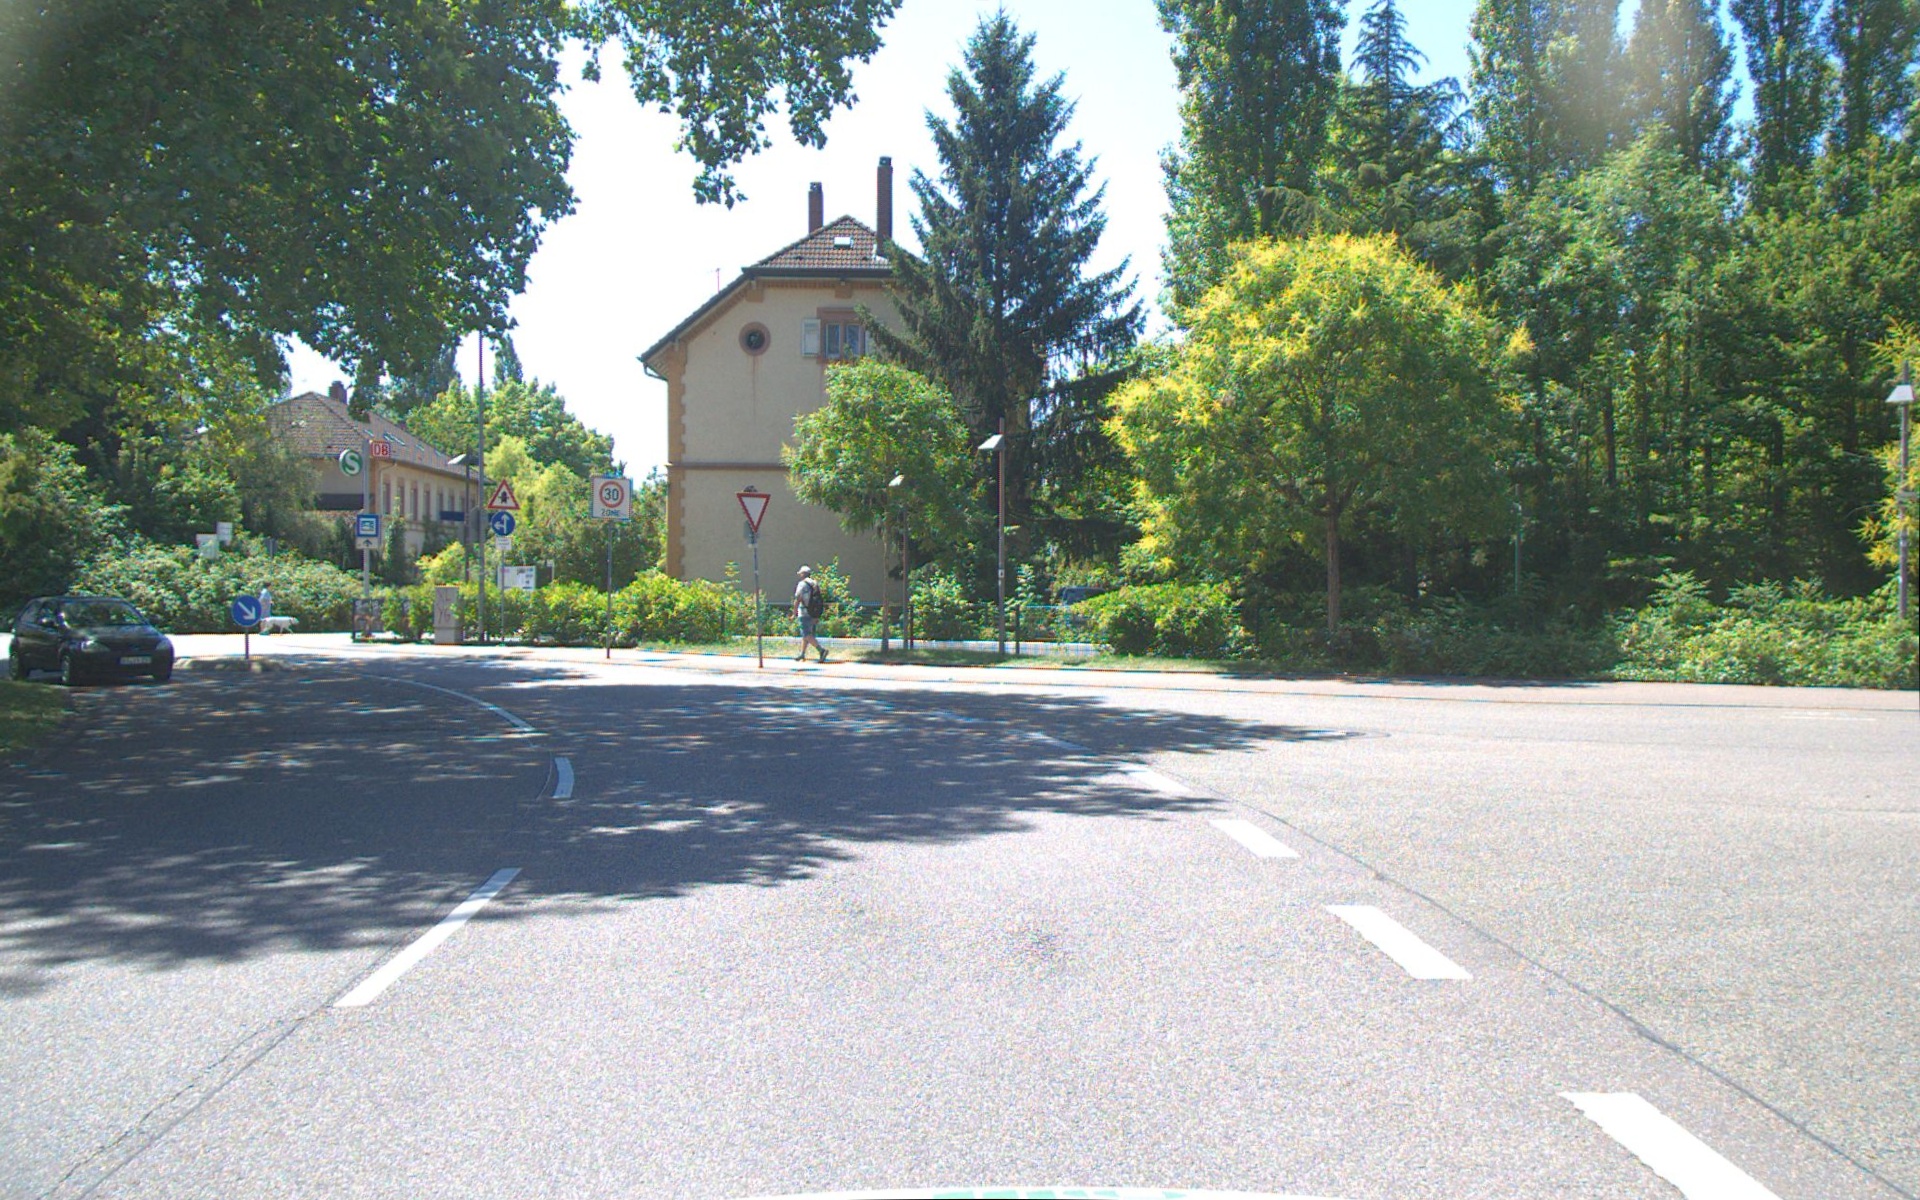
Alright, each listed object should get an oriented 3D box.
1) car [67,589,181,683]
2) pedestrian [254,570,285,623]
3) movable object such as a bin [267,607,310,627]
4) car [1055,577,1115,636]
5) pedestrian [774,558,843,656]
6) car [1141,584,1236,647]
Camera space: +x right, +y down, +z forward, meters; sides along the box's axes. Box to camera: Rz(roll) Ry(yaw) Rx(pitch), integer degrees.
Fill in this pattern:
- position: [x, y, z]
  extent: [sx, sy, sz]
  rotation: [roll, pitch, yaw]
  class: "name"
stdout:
- position: [-14.565, 0.566, 28.806]
  extent: [1.622, 1.442, 3.964]
  rotation: [-2, 2, -27]
  class: "car"
- position: [-21.995, -0.114, 52.688]
  extent: [0.685, 1.656, 0.615]
  rotation: [2, 1, 32]
  class: "pedestrian"
- position: [-21.266, 0.542, 52.396]
  extent: [0.505, 0.605, 1.241]
  rotation: [0, 1, 28]
  class: "movable object such as a bin"
- position: [3.465, 0.151, 46.313]
  extent: [1.615, 1.563, 3.971]
  rotation: [0, 1, 3]
  class: "car"
- position: [-2.895, 0.120, 31.591]
  extent: [0.907, 1.802, 0.902]
  rotation: [-4, 3, -41]
  class: "pedestrian"
- position: [5.711, 0.347, 41.861]
  extent: [1.728, 1.526, 4.499]
  rotation: [0, 1, -1]
  class: "car"
